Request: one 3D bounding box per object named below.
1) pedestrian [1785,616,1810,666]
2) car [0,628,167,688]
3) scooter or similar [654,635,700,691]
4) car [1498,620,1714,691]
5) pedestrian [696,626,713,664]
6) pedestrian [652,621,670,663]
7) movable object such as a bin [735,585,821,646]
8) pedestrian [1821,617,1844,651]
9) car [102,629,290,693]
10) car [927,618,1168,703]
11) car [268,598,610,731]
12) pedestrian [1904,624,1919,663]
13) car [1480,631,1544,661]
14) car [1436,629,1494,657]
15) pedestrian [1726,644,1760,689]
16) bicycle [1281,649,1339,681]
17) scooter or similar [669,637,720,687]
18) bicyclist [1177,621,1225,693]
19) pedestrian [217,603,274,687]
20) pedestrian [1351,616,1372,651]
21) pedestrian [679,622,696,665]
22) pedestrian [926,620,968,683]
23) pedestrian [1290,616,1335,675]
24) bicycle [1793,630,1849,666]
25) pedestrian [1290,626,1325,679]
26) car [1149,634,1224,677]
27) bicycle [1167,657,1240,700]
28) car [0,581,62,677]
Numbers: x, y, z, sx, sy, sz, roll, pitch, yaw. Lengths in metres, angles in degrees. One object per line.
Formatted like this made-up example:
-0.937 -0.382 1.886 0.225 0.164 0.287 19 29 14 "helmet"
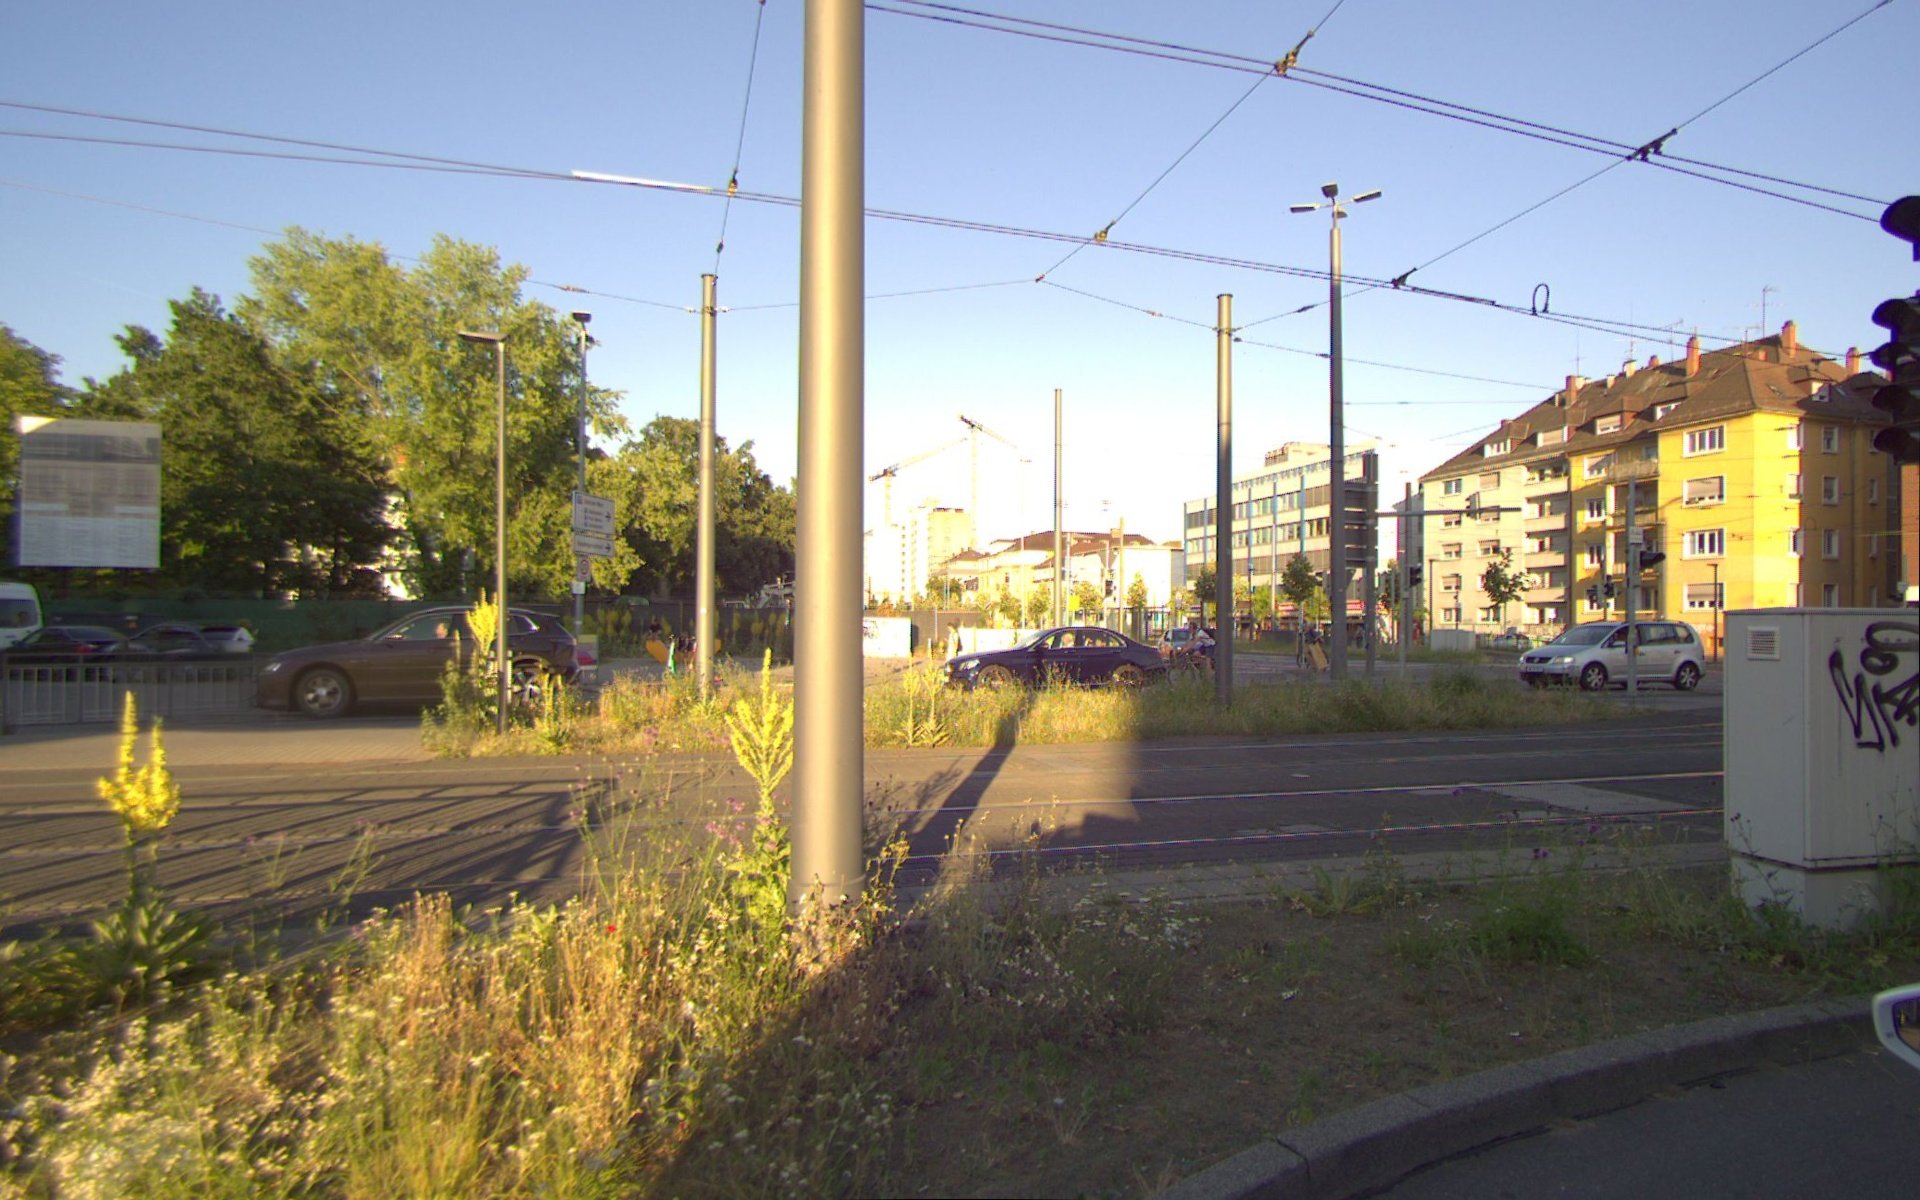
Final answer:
32.094 1.575 38.508 0.554 1.893 0.502 0 1 -18 "pedestrian"
-23.890 1.524 27.184 4.013 1.505 2.000 0 -2 20 "car"
-7.573 1.672 26.929 0.507 1.465 1.255 0 -2 24 "scooter or similar"
15.383 1.295 24.042 4.037 1.606 1.998 0 -2 -8 "car"
-10.329 1.800 40.649 0.614 1.515 0.640 0 -1 -13 "pedestrian"
-12.102 1.702 40.673 0.593 1.680 0.531 1 -2 -32 "pedestrian"
-9.856 0.850 54.569 4.257 3.272 2.001 0 -1 2 "movable object such as a bin"
48.859 1.905 56.229 0.656 1.893 0.799 0 1 -34 "pedestrian"
-19.477 1.499 25.642 3.921 1.505 2.000 0 -2 20 "car"
1.734 1.198 20.508 4.509 1.606 1.995 1 -2 -14 "car"
-8.474 1.004 16.657 4.755 1.926 1.984 1 -2 -31 "car"
46.821 2.129 48.924 0.826 1.893 0.938 0 1 -21 "pedestrian"
42.080 3.487 76.657 1.968 2.040 3.984 1 0 -18 "car"
40.962 3.470 81.515 1.968 2.040 3.984 1 0 -18 "car"
34.257 2.906 43.948 0.924 1.893 0.839 1 1 18 "pedestrian"
12.737 2.336 36.618 0.882 1.074 1.999 1 -1 -23 "bicycle"
-7.030 1.625 26.641 0.509 1.289 1.251 -1 -2 38 "scooter or similar"
5.840 1.378 24.369 0.961 1.711 0.664 0 -1 -6 "bicyclist"
-16.623 1.046 23.389 0.750 1.918 0.730 0 -1 11 "pedestrian"
22.145 1.852 55.418 0.875 1.892 0.715 1 -2 -32 "pedestrian"
-10.955 1.745 40.381 0.591 1.680 0.533 1 -1 -20 "pedestrian"
-0.388 1.559 30.749 0.878 1.892 0.965 1 -2 -39 "pedestrian"
12.141 1.551 34.615 1.013 1.970 1.091 1 -2 -31 "pedestrian"
32.653 1.807 38.088 1.983 1.343 0.618 1 1 -17 "bicycle"
12.692 1.904 36.688 0.882 1.936 0.842 1 -1 -23 "pedestrian"
9.272 2.242 41.461 1.961 1.639 4.565 0 -1 -2 "car"
5.909 1.899 24.371 1.592 1.022 0.668 0 -1 -6 "bicycle"
-28.956 0.843 29.155 5.320 2.665 2.098 0 -1 21 "car"
